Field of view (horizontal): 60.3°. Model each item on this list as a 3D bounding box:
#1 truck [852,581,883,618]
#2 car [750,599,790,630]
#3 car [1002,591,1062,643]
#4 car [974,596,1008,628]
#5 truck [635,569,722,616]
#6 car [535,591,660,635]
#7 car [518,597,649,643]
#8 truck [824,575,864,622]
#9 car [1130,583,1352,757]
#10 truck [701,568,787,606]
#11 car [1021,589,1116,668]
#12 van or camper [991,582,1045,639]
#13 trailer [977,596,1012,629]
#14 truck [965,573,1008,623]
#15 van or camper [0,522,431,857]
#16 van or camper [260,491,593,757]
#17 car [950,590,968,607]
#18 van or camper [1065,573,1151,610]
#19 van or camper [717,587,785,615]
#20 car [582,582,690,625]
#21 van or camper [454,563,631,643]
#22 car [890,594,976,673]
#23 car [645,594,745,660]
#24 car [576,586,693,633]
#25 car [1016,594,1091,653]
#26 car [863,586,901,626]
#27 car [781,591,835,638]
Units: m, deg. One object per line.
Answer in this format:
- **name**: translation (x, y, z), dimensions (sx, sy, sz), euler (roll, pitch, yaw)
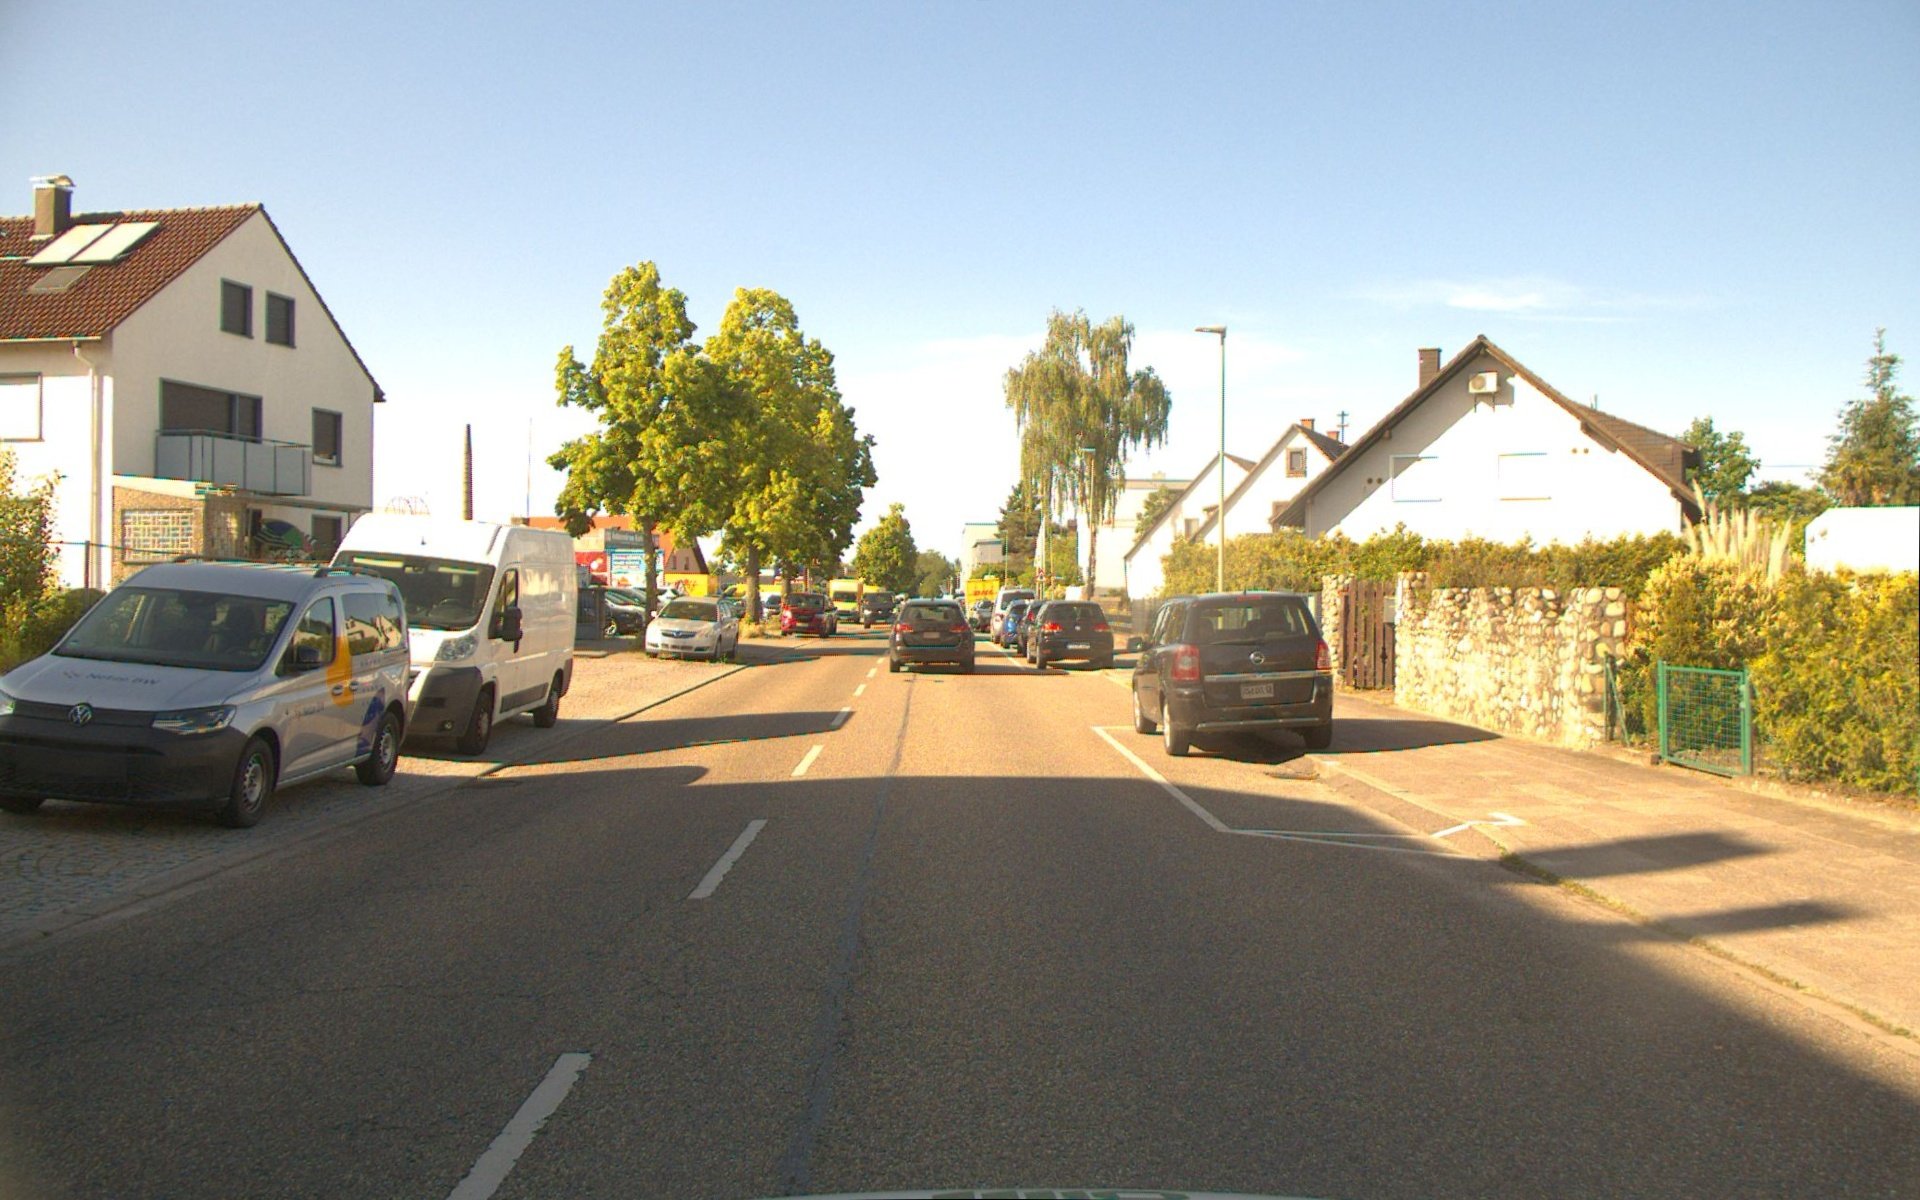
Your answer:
- **truck**: translation (-8.133, -0.028, 145.331), dimensions (2.354, 3.035, 6.372), euler (2, 0, -1)
- **car**: translation (-10.462, 0.819, 91.204), dimensions (1.824, 1.618, 4.274), euler (0, -2, -2)
- **car**: translation (2.230, 0.513, 51.802), dimensions (1.684, 1.531, 3.563), euler (1, 0, -1)
- **car**: translation (1.603, 0.574, 84.624), dimensions (1.639, 1.569, 4.044), euler (1, 0, 2)
- **truck**: translation (-20.362, -0.564, 119.745), dimensions (5.547, 3.174, 2.525), euler (2, 0, 10)
- **car**: translation (-13.338, 0.474, 60.989), dimensions (4.160, 1.569, 1.767), euler (0, 1, 3)
- **car**: translation (-13.291, 0.692, 58.518), dimensions (4.159, 1.569, 1.767), euler (1, 0, 5)
- **truck**: translation (-7.926, -0.091, 113.573), dimensions (2.354, 3.035, 7.242), euler (2, 0, -2)
- **car**: translation (2.972, 0.680, 18.363), dimensions (1.739, 1.688, 4.303), euler (1, 0, 0)
- **truck**: translation (-15.862, -0.944, 121.745), dimensions (5.795, 2.612, 2.225), euler (2, 0, 10)
- **car**: translation (2.417, 0.615, 37.728), dimensions (1.740, 1.688, 3.814), euler (1, 0, -3)
- **van or camper**: translation (1.997, 0.356, 57.776), dimensions (1.684, 1.924, 4.179), euler (1, 0, -1)
- **trailer**: translation (1.655, 0.599, 79.802), dimensions (1.594, 1.565, 3.198), euler (0, 0, 0)
- **truck**: translation (1.596, -0.102, 103.956), dimensions (2.354, 2.988, 7.014), euler (-2, 0, -1)
- **van or camper**: translation (-5.727, 0.550, 12.712), dimensions (1.840, 2.048, 4.279), euler (4, 0, -1)
- **van or camper**: translation (-5.886, 0.230, 19.141), dimensions (2.080, 2.533, 5.553), euler (3, 0, -2)
- **car**: translation (-0.125, -0.183, 183.940), dimensions (1.880, 1.857, 4.079), euler (0, 0, -1)
- **van or camper**: translation (10.361, -0.585, 116.073), dimensions (5.745, 2.586, 2.270), euler (0, 0, -27)
- **van or camper**: translation (-14.969, 0.075, 118.779), dimensions (4.447, 2.049, 2.252), euler (0, 0, 5)
- **car**: translation (-13.717, 0.153, 70.046), dimensions (4.159, 1.759, 1.767), euler (0, 0, 5)
- **van or camper**: translation (-12.921, 0.094, 51.319), dimensions (4.788, 2.361, 2.245), euler (1, -1, 12)
- **car**: translation (-0.527, 0.651, 34.385), dimensions (1.676, 1.559, 3.687), euler (0, 0, 0)
- **car**: translation (-6.428, 0.615, 40.505), dimensions (1.652, 1.460, 4.209), euler (3, 0, 1)
- **car**: translation (-12.688, 0.373, 64.616), dimensions (4.160, 1.783, 1.766), euler (0, 0, 2)
- **car**: translation (2.512, 0.606, 45.135), dimensions (1.684, 1.531, 3.905), euler (1, 0, -2)
- **car**: translation (-4.286, 0.318, 91.612), dimensions (1.855, 2.067, 4.817), euler (-1, 0, -1)
- **car**: translation (-6.206, 0.575, 67.904), dimensions (1.767, 1.783, 4.341), euler (2, 0, -1)
